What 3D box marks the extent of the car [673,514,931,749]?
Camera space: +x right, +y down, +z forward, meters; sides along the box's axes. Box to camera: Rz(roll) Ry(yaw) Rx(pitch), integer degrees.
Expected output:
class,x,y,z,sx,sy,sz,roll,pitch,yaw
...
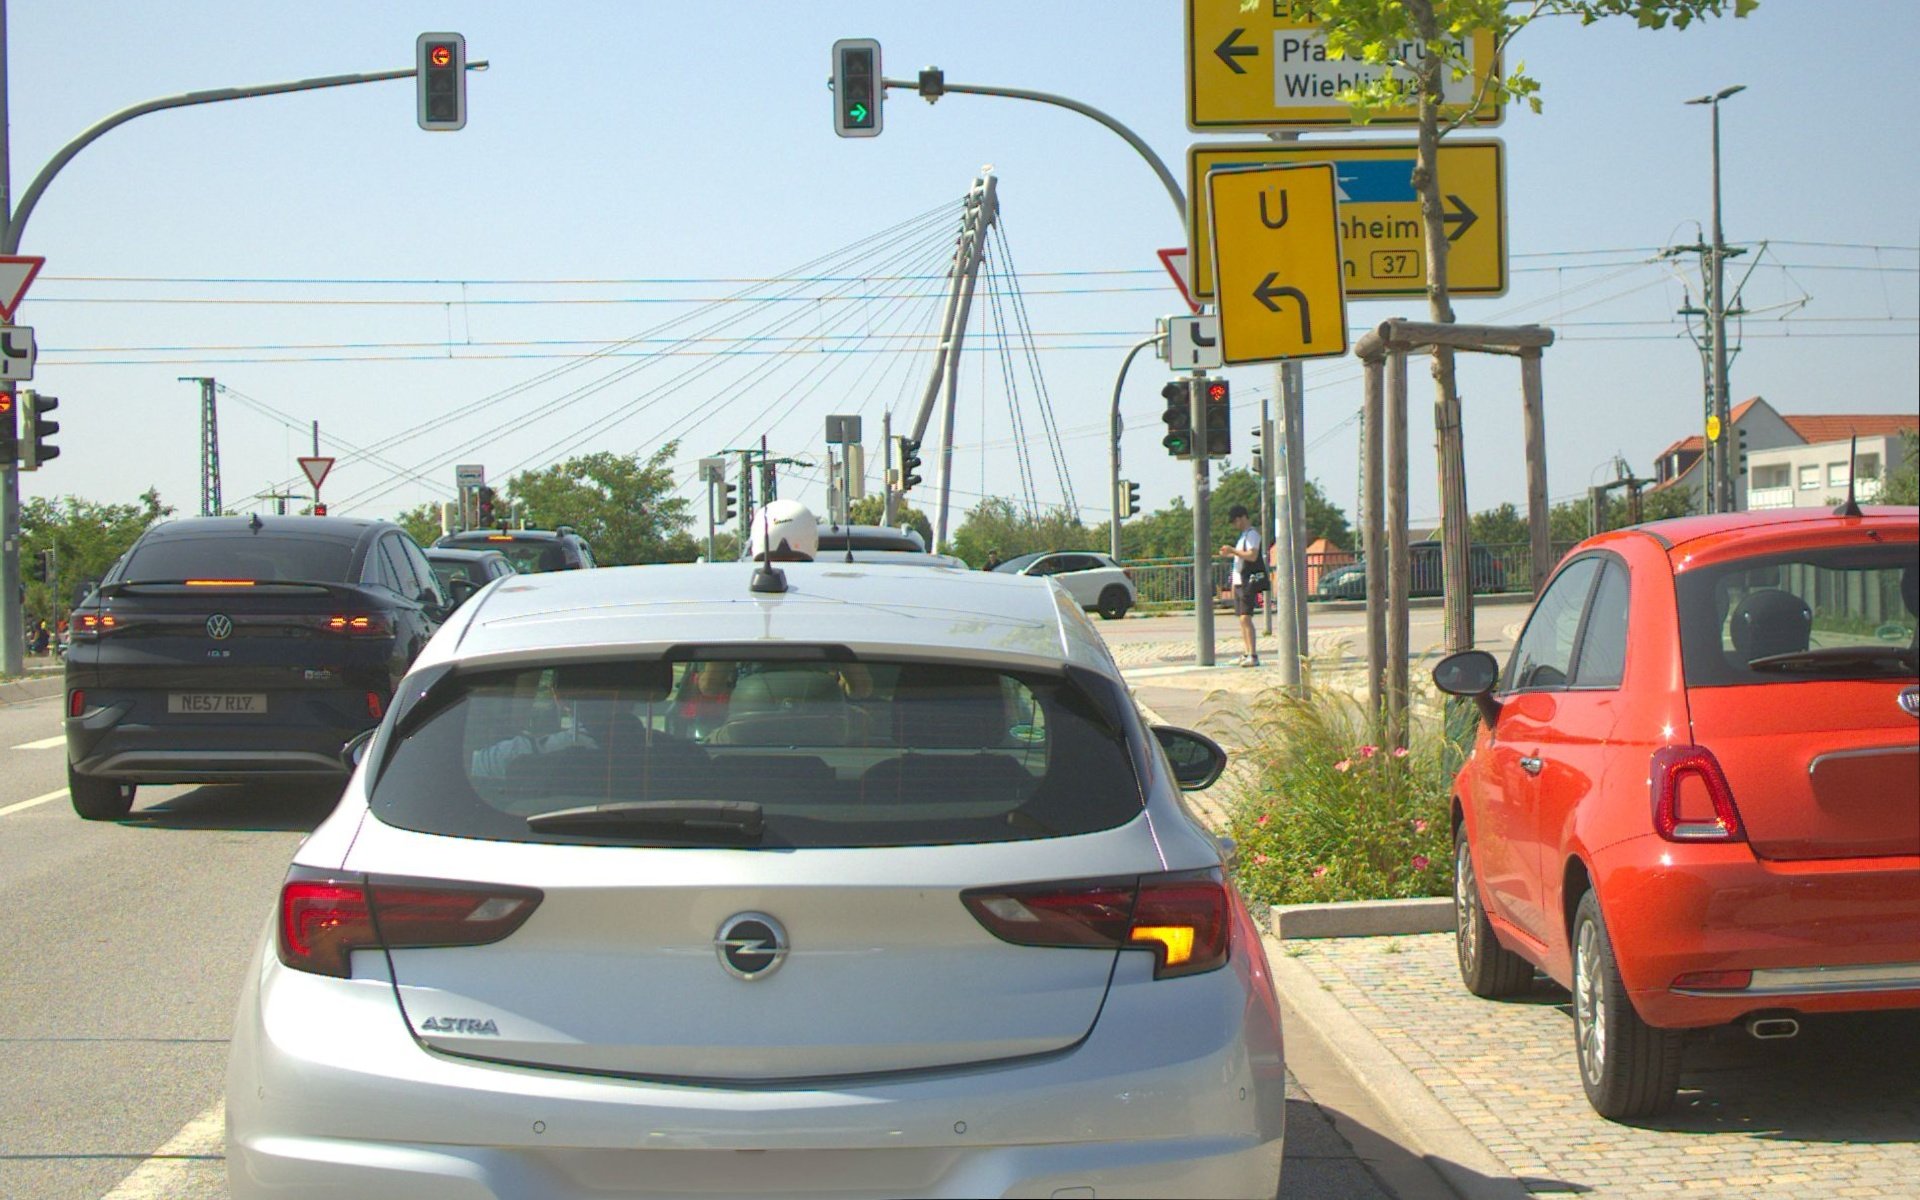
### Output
class,x,y,z,sx,sy,sz,roll,pitch,yaw
car,-1.090,0.162,25.367,1.724,1.558,4.000,1,2,0

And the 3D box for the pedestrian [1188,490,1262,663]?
class,x,y,z,sx,sy,sz,roll,pitch,yaw
pedestrian,2.878,-0.256,37.354,0.647,1.830,0.798,-2,0,-2

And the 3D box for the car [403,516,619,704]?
class,x,y,z,sx,sy,sz,roll,pitch,yaw
car,-4.072,0.068,31.630,1.649,1.610,3.821,1,1,-3

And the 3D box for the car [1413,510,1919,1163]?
class,x,y,z,sx,sy,sz,roll,pitch,yaw
car,2.326,0.515,9.771,1.610,1.491,3.352,-2,1,1

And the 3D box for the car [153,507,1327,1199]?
class,x,y,z,sx,sy,sz,roll,pitch,yaw
car,-0.433,0.588,7.148,1.742,1.473,4.001,1,1,-3

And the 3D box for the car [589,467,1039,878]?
class,x,y,z,sx,sy,sz,roll,pitch,yaw
car,-0.678,0.267,17.601,1.993,1.814,4.402,1,2,-1

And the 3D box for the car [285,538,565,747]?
class,x,y,z,sx,sy,sz,roll,pitch,yaw
car,-3.926,0.278,25.726,1.575,1.429,3.786,1,1,-1

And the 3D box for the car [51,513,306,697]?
class,x,y,z,sx,sy,sz,roll,pitch,yaw
car,-6.975,0.023,30.995,1.597,1.542,3.763,1,1,-3

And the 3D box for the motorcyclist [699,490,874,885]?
class,x,y,z,sx,sy,sz,roll,pitch,yaw
motorcyclist,-0.620,0.306,12.466,0.581,1.384,0.707,1,0,0

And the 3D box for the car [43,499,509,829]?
class,x,y,z,sx,sy,sz,roll,pitch,yaw
car,-3.724,0.300,19.466,1.801,1.636,4.366,1,1,-1
